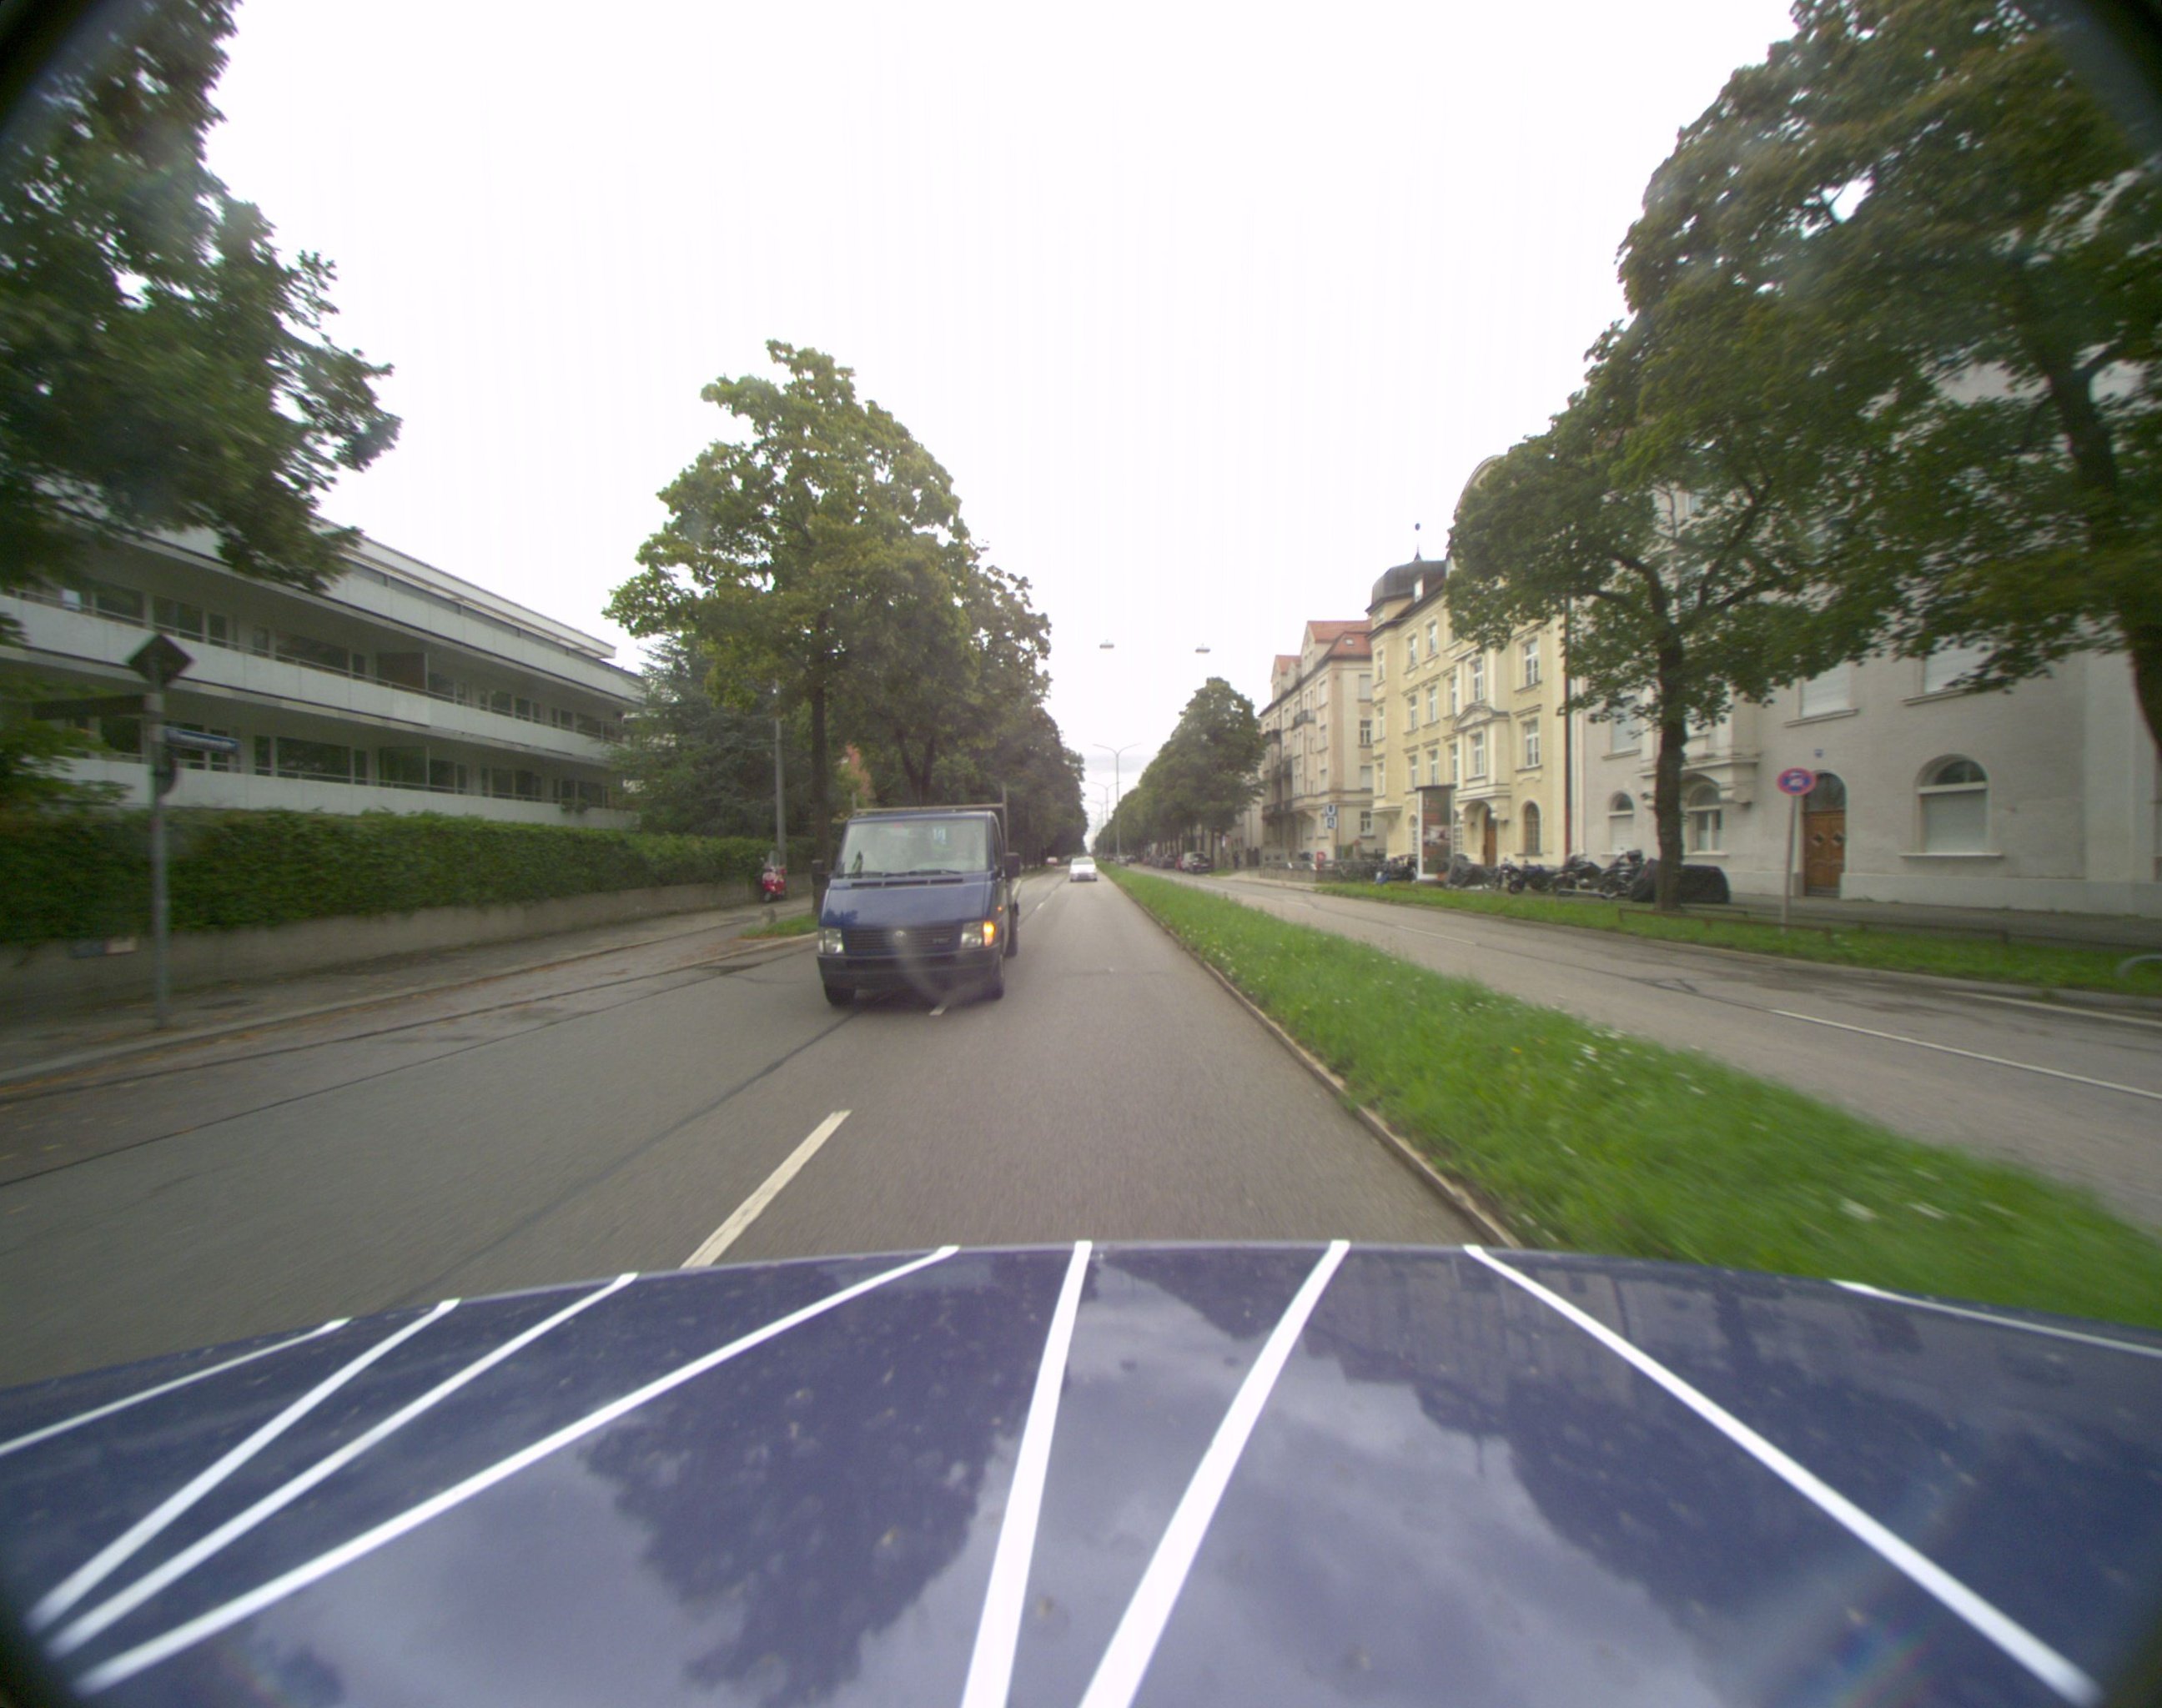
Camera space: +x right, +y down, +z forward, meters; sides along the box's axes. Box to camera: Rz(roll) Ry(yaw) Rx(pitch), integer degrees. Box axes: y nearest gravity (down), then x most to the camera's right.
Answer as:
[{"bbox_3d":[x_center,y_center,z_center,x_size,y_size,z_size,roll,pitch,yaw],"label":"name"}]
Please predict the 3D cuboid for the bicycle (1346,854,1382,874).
[{"bbox_3d":[16.571,0.604,44.514,1.954,1.143,0.597,-1,1,21],"label":"bicycle"}]

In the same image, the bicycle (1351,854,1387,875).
[{"bbox_3d":[16.558,0.609,43.695,1.954,1.143,0.597,-1,1,21],"label":"bicycle"}]

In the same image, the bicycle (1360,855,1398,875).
[{"bbox_3d":[16.729,0.618,42.712,1.954,1.143,0.597,-1,1,21],"label":"bicycle"}]

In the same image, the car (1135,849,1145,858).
[{"bbox_3d":[12.453,-0.027,159.552,1.872,1.827,4.000,-1,0,1],"label":"car"}]

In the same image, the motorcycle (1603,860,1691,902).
[{"bbox_3d":[15.897,0.738,21.367,1.953,1.143,0.597,-1,1,38],"label":"motorcycle"}]

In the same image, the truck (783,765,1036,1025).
[{"bbox_3d":[-1.802,0.393,9.883,1.998,2.475,5.151,-1,0,1],"label":"truck"}]

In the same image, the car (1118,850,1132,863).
[{"bbox_3d":[6.411,0.316,110.491,1.814,1.761,4.000,-1,0,1],"label":"car"}]

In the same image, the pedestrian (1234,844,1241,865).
[{"bbox_3d":[15.194,0.071,73.850,0.641,2.031,0.738,-1,1,12],"label":"pedestrian"}]

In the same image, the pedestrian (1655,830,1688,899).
[{"bbox_3d":[17.894,0.307,23.041,0.599,2.048,0.685,0,1,20],"label":"pedestrian"}]

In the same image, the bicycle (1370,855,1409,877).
[{"bbox_3d":[16.648,0.640,41.062,1.954,1.143,0.597,-1,1,21],"label":"bicycle"}]

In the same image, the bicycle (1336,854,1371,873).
[{"bbox_3d":[16.566,0.582,46.196,1.954,1.143,0.597,-1,1,21],"label":"bicycle"}]

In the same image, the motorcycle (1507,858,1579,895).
[{"bbox_3d":[15.064,0.726,24.810,1.953,1.143,0.597,-1,1,38],"label":"motorcycle"}]

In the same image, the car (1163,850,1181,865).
[{"bbox_3d":[11.305,0.384,94.562,1.872,1.827,4.000,-1,0,1],"label":"car"}]

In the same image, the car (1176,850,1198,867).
[{"bbox_3d":[11.624,0.496,83.633,1.872,1.827,4.000,-1,0,1],"label":"car"}]

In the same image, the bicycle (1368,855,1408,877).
[{"bbox_3d":[16.340,0.662,40.443,1.954,1.143,0.597,-1,1,21],"label":"bicycle"}]

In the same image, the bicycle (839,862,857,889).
[{"bbox_3d":[-9.762,0.892,31.810,0.490,1.092,1.631,-1,0,-9],"label":"bicycle"}]

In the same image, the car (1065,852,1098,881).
[{"bbox_3d":[0.024,0.734,46.717,1.946,1.642,4.000,-1,0,0],"label":"car"}]

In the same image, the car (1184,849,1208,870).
[{"bbox_3d":[11.256,0.483,74.742,1.790,2.002,4.000,-1,0,1],"label":"car"}]

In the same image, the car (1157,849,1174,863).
[{"bbox_3d":[11.525,0.268,103.363,1.872,1.827,4.000,-1,0,1],"label":"car"}]

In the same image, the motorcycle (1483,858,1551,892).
[{"bbox_3d":[15.057,0.708,26.253,1.953,1.143,0.597,-1,1,38],"label":"motorcycle"}]

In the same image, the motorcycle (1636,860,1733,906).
[{"bbox_3d":[15.766,0.728,19.893,1.953,1.143,0.597,-1,1,38],"label":"motorcycle"}]

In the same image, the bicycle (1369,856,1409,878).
[{"bbox_3d":[16.108,0.681,39.764,1.954,1.143,0.597,-1,1,21],"label":"bicycle"}]

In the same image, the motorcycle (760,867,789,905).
[{"bbox_3d":[-9.779,0.997,24.282,0.497,1.135,1.631,-1,0,-9],"label":"motorcycle"}]

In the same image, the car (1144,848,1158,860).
[{"bbox_3d":[11.170,0.041,121.815,1.872,1.827,4.000,-1,0,1],"label":"car"}]

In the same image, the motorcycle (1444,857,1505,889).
[{"bbox_3d":[14.596,0.703,28.258,1.954,1.143,0.597,-1,1,21],"label":"motorcycle"}]

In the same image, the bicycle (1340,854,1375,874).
[{"bbox_3d":[16.504,0.594,45.352,1.954,1.143,0.597,-1,1,21],"label":"bicycle"}]

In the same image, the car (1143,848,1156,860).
[{"bbox_3d":[11.385,-0.027,126.971,1.872,1.827,4.000,-1,0,1],"label":"car"}]

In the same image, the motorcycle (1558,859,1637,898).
[{"bbox_3d":[15.656,0.725,23.055,1.953,1.143,0.597,-1,1,38],"label":"motorcycle"}]
